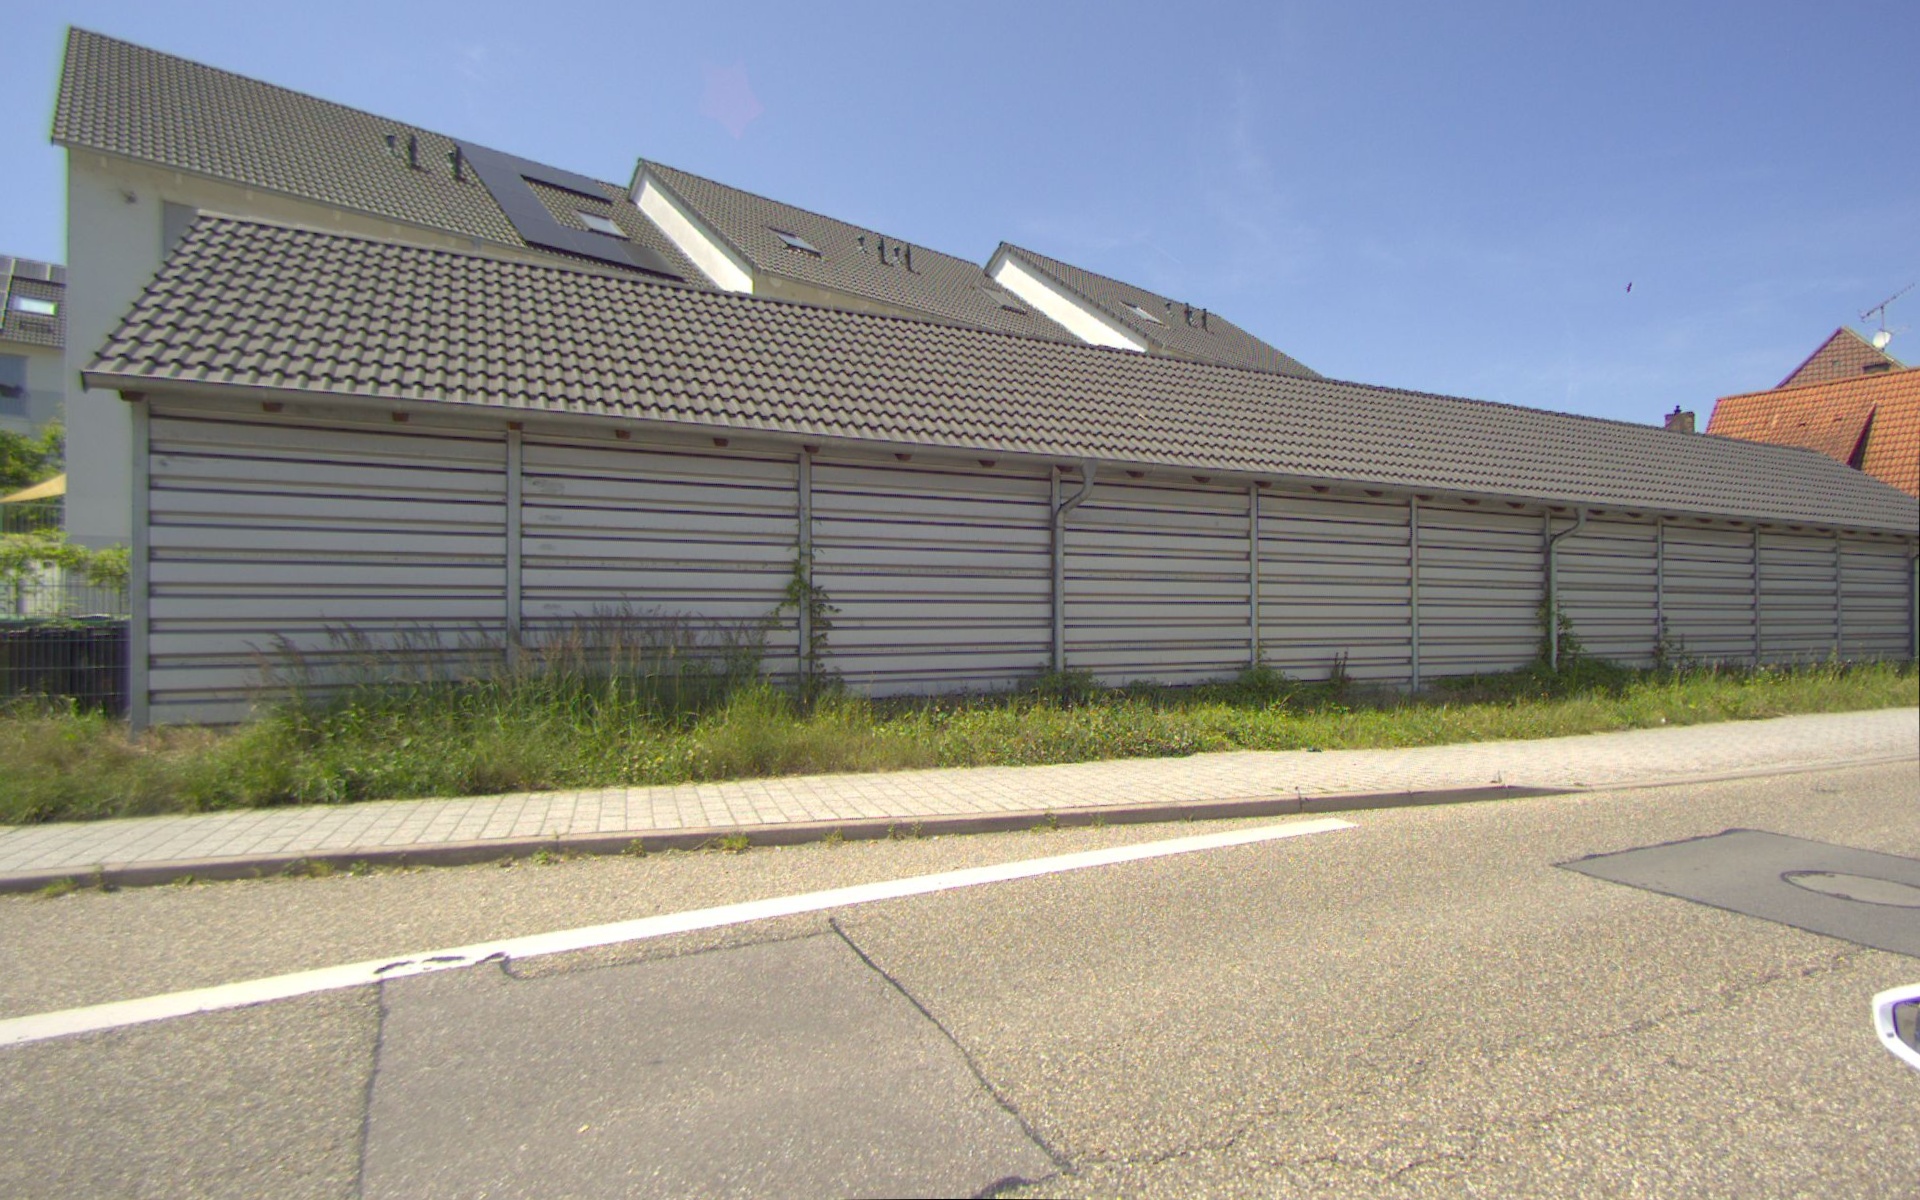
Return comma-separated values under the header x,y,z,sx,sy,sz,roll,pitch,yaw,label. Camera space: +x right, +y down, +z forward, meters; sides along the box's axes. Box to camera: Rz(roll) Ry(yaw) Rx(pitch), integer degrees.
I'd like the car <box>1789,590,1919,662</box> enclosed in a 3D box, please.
x,y,z,sx,sy,sz,roll,pitch,yaw,label
22.721,0.617,23.997,1.840,1.659,4.112,0,-2,-25,car

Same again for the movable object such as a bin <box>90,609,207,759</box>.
x,y,z,sx,sy,sz,roll,pitch,yaw,label
-7.312,0.731,9.084,0.685,1.295,0.637,1,-1,-28,movable object such as a bin
